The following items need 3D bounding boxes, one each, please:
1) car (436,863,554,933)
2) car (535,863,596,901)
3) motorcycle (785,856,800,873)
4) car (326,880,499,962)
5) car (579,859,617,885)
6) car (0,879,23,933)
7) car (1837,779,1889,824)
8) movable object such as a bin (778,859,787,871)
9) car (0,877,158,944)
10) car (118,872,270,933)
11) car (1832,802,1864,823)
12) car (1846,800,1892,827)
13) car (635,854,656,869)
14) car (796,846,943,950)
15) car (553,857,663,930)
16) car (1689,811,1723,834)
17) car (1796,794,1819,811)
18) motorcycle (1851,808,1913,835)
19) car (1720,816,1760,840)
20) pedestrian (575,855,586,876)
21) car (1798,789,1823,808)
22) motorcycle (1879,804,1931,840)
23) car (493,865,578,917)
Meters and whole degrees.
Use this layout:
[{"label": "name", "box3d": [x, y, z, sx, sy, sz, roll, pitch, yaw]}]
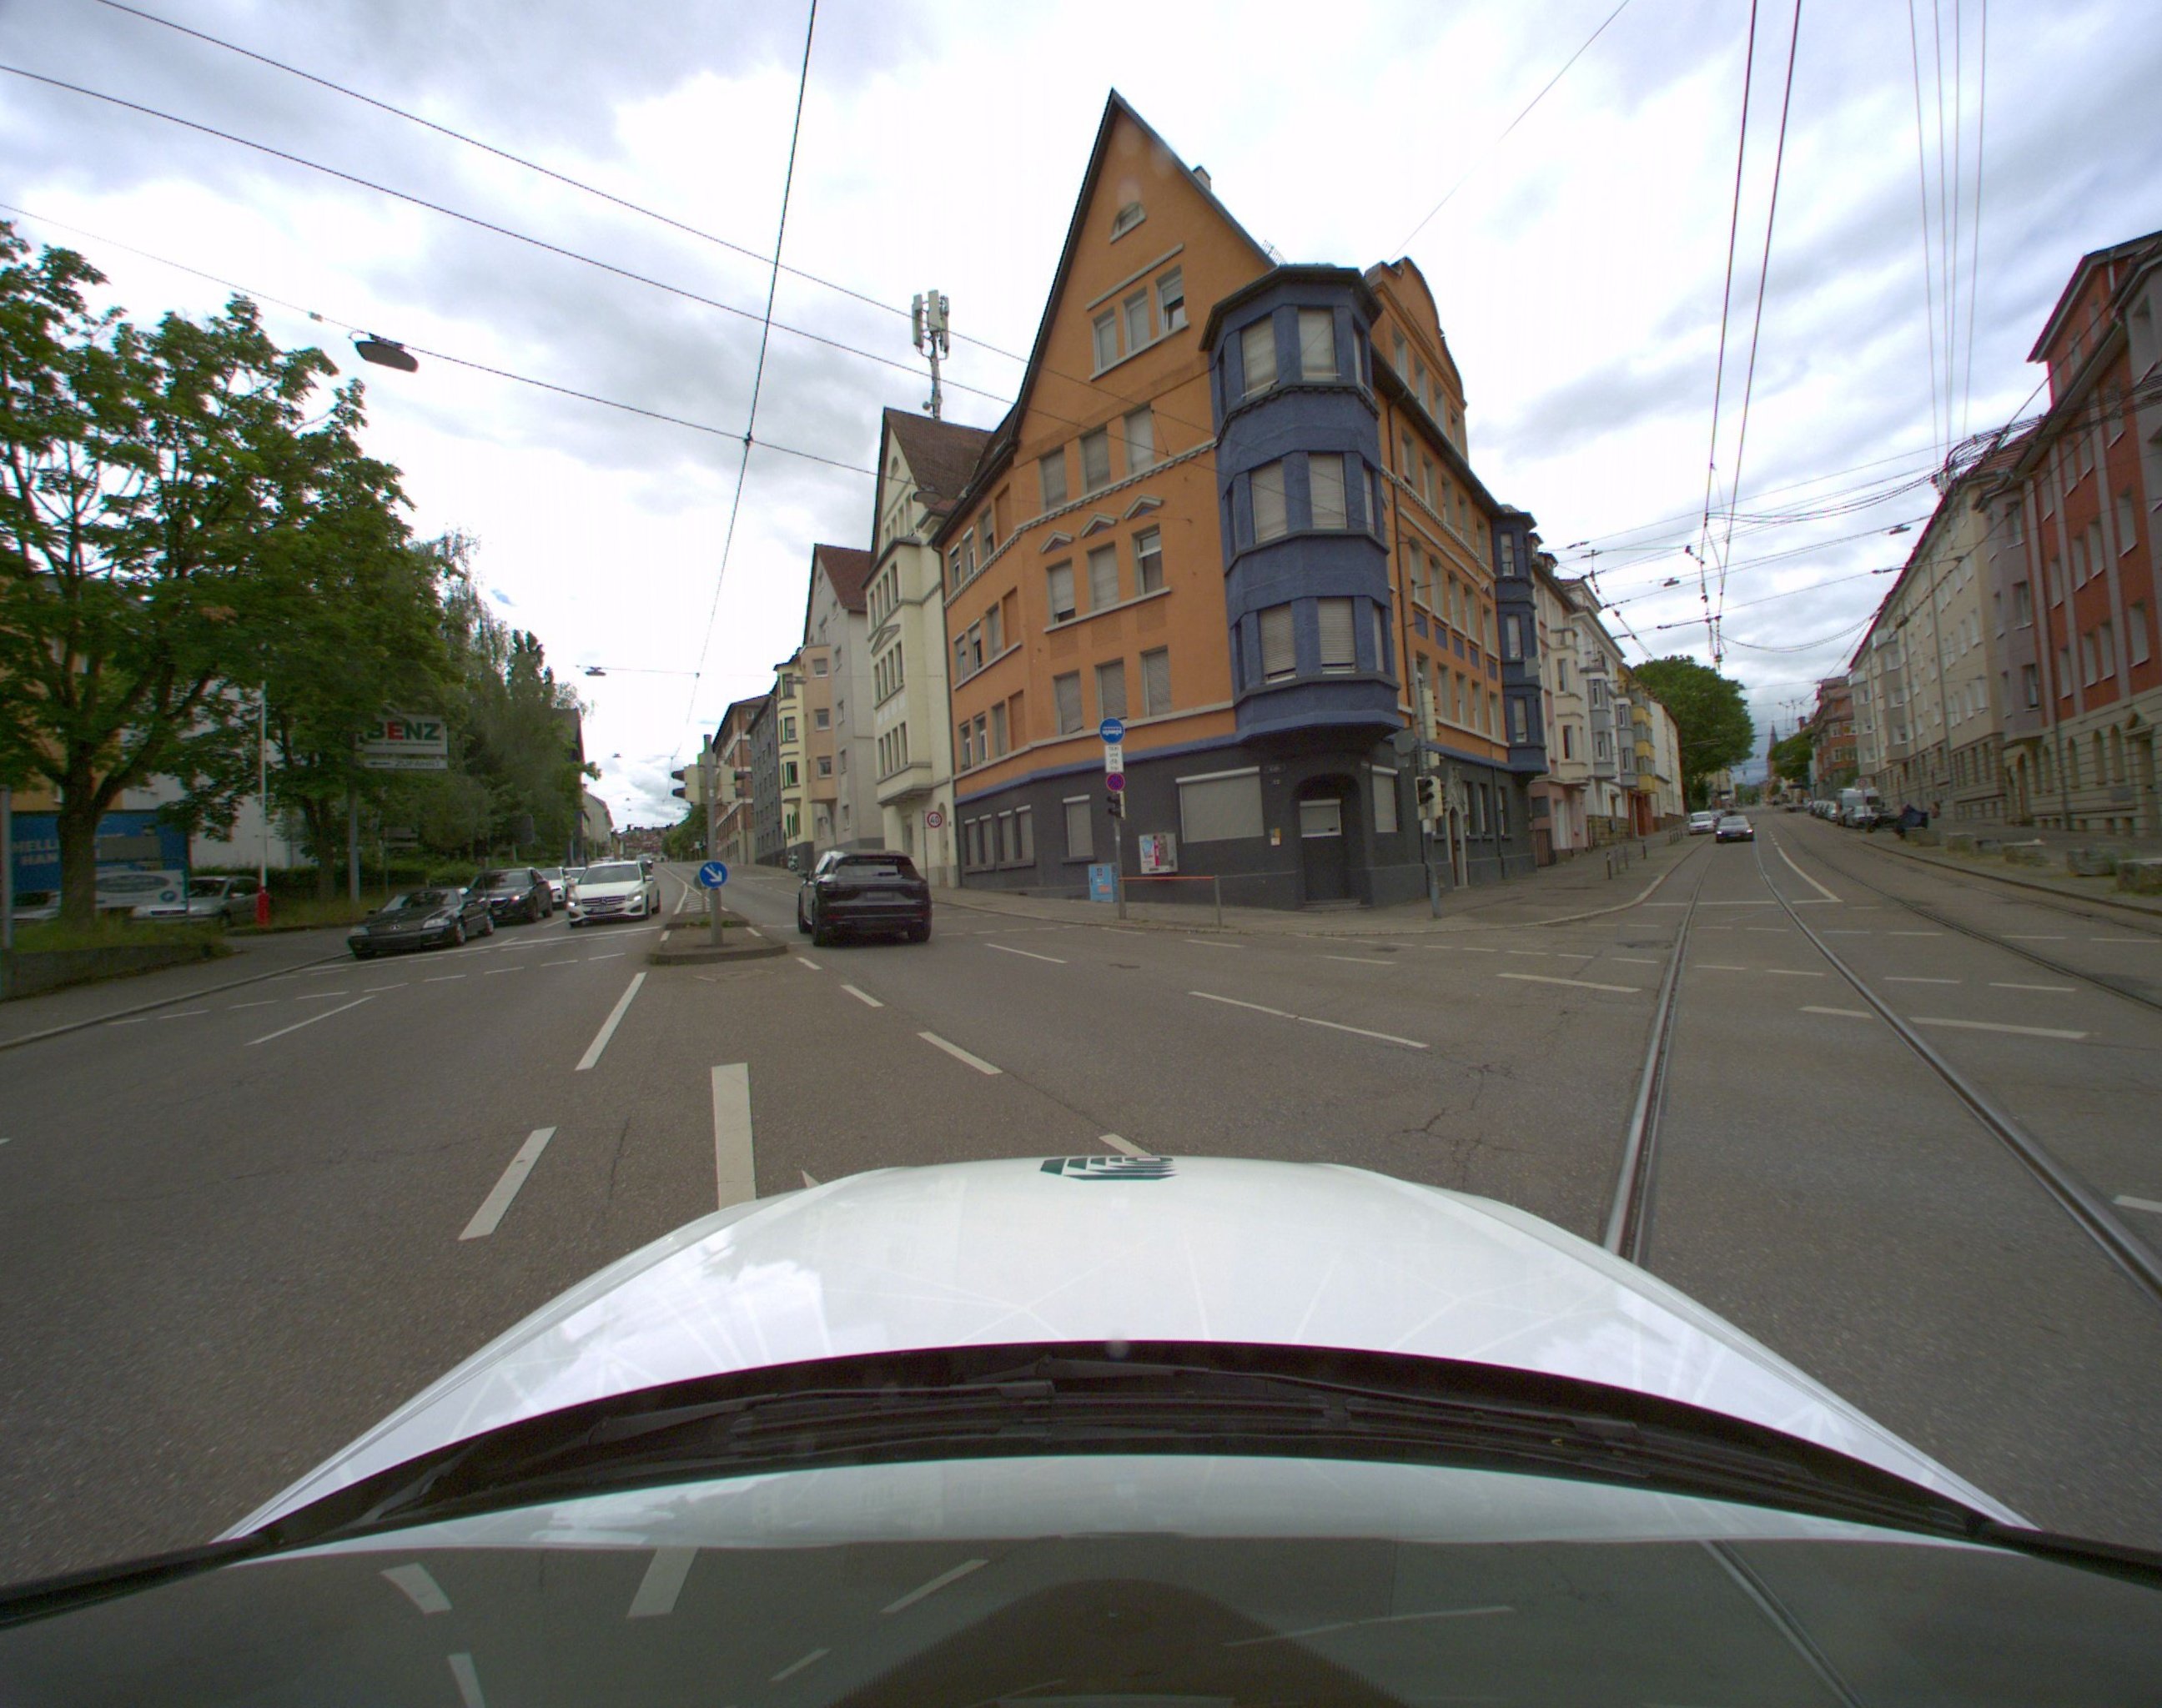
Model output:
[{"label": "car", "box3d": [-17.235, 1.203, 24.203, 1.962, 1.642, 4.376, -5, 2, -26]}, {"label": "car", "box3d": [-23.062, 1.198, 36.548, 1.850, 1.412, 4.037, -5, 2, -27]}, {"label": "motorcycle", "box3d": [-20.987, 0.743, 59.200, 0.541, 1.155, 2.204, -5, 3, -31]}, {"label": "car", "box3d": [-14.688, 1.388, 18.183, 1.810, 1.281, 4.203, -5, 2, -24]}, {"label": "car", "box3d": [-31.105, 1.121, 52.505, 1.850, 1.447, 4.271, -4, 2, -28]}, {"label": "car", "box3d": [-29.212, 1.399, 20.636, 1.719, 1.411, 3.958, 1, -1, -34]}, {"label": "car", "box3d": [53.954, -3.547, 56.292, 2.245, 2.890, 4.799, -2, 1, 40]}, {"label": "movable object such as a bin", "box3d": [-24.000, 0.894, 65.487, 0.477, 0.892, 0.512, -5, 2, -30]}, {"label": "car", "box3d": [-26.659, 1.411, 21.376, 1.715, 1.501, 3.967, 1, -1, -25]}, {"label": "car", "box3d": [-25.006, 1.312, 23.142, 1.717, 1.501, 3.962, 1, -1, -29]}, {"label": "car", "box3d": [62.166, -3.325, 66.072, 1.678, 1.556, 3.667, -2, 1, 40]}, {"label": "car", "box3d": [50.161, -2.545, 51.907, 1.822, 1.568, 3.843, -2, 1, 40]}, {"label": "car", "box3d": [-46.206, 0.815, 86.398, 1.850, 1.447, 4.271, -4, 2, -28]}, {"label": "car", "box3d": [-4.131, 0.705, 15.333, 2.033, 1.641, 4.322, 0, 0, -24]}, {"label": "car", "box3d": [-12.617, 0.966, 21.987, 1.782, 1.546, 4.295, -5, 2, -21]}, {"label": "car", "box3d": [51.038, -2.549, 66.453, 1.974, 1.692, 4.025, -2, 1, 40]}, {"label": "car", "box3d": [102.269, -7.222, 114.691, 2.245, 2.183, 4.799, -2, 1, 40]}, {"label": "motorcycle", "box3d": [41.370, -1.674, 42.117, 2.156, 1.326, 0.704, -2, 0, 30]}, {"label": "car", "box3d": [38.130, -1.504, 47.083, 1.670, 1.326, 3.685, -2, 1, 40]}, {"label": "pedestrian", "box3d": [-47.469, 1.064, 77.242, 0.887, 1.950, 0.859, 0, 0, -29]}, {"label": "car", "box3d": [92.997, -7.028, 103.860, 2.245, 2.183, 4.799, -2, 1, 40]}, {"label": "motorcycle", "box3d": [34.446, -1.328, 34.078, 0.851, 1.326, 2.198, -10, -4, 31]}, {"label": "car", "box3d": [-20.616, 1.348, 30.977, 1.962, 1.593, 4.459, -5, 2, -26]}]
